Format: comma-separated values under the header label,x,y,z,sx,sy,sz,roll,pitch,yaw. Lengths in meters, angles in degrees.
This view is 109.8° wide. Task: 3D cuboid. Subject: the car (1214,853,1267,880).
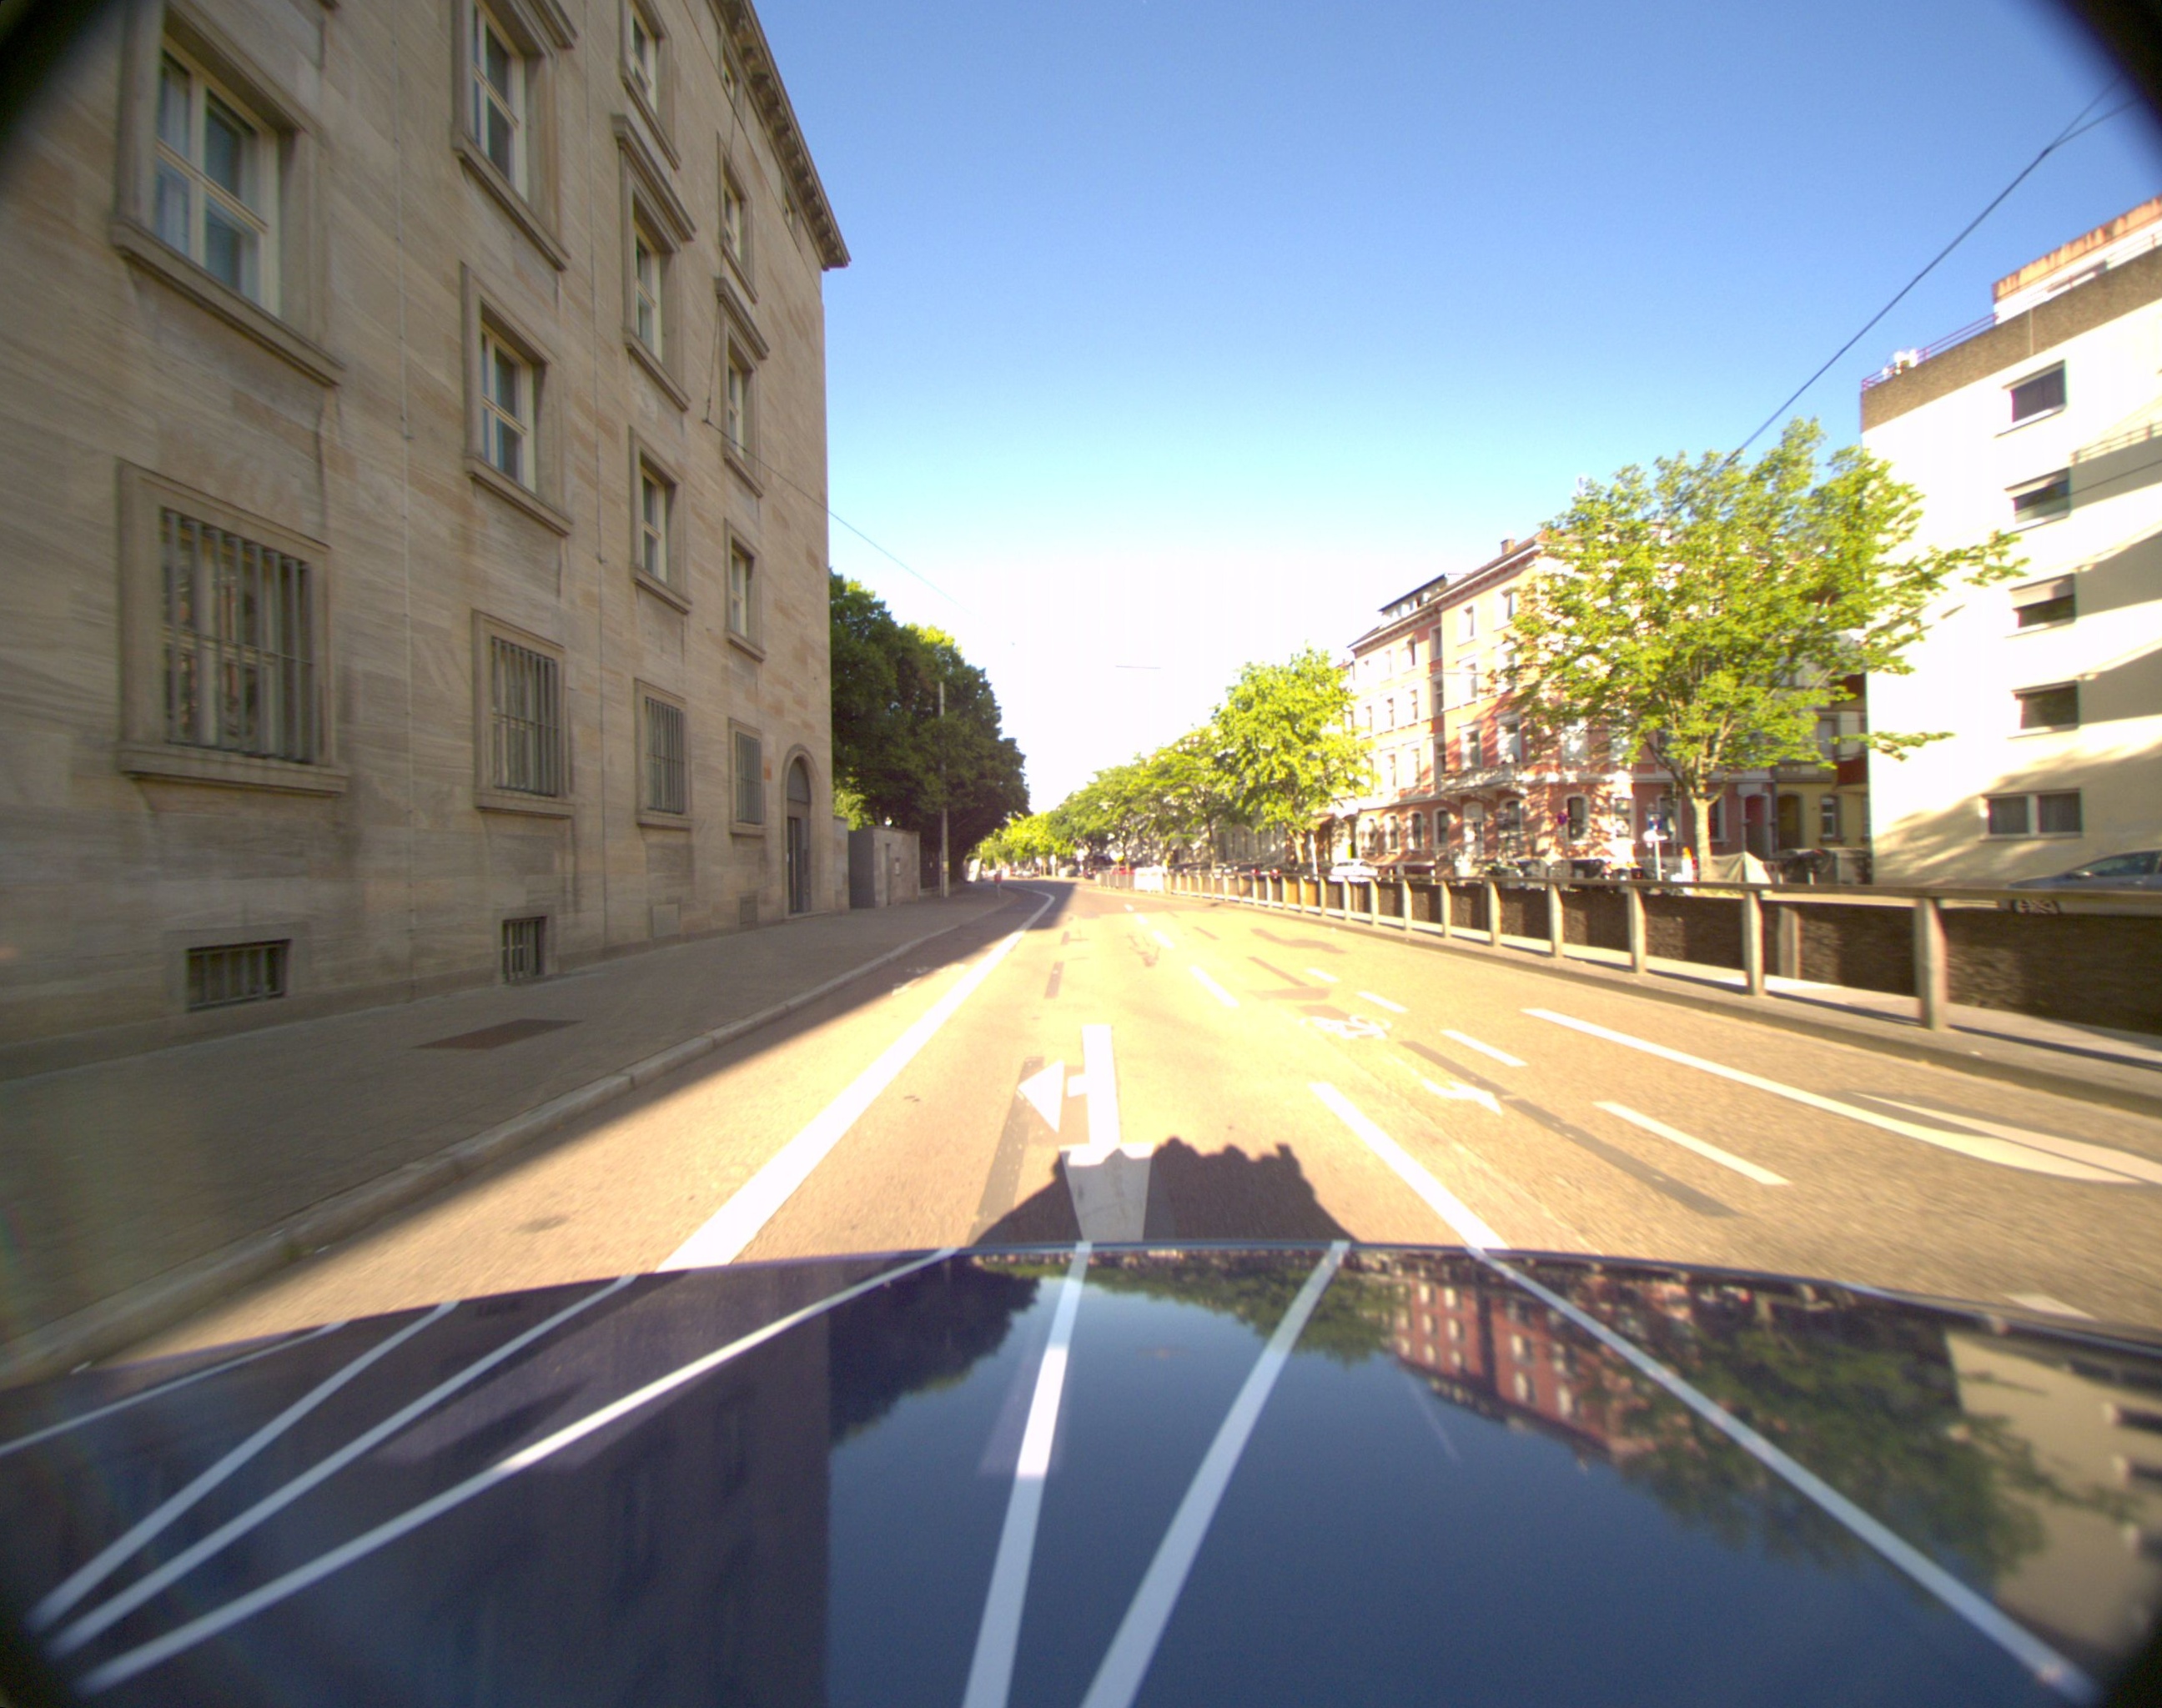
label,x,y,z,sx,sy,sz,roll,pitch,yaw
car,12.147,0.939,57.795,4.293,1.713,1.703,-5,2,-44

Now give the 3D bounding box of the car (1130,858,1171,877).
label,x,y,z,sx,sy,sz,roll,pitch,yaw
car,7.311,1.434,80.028,4.208,1.627,1.739,-4,0,-41

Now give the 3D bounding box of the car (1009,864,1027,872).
label,x,y,z,sx,sy,sz,roll,pitch,yaw
car,-14.351,3.251,173.983,3.775,1.584,1.670,-4,1,-18

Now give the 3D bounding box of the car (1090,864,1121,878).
label,x,y,z,sx,sy,sz,roll,pitch,yaw
car,3.030,2.135,94.404,1.744,1.511,3.773,-2,1,44

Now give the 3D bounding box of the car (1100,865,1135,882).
label,x,y,z,sx,sy,sz,roll,pitch,yaw
car,4.429,2.388,92.076,4.208,1.714,1.780,-4,1,-45

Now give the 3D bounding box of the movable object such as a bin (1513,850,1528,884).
label,x,y,z,sx,sy,sz,roll,pitch,yaw
movable object such as a bin,18.445,0.550,31.874,0.380,1.418,0.386,-1,0,-1

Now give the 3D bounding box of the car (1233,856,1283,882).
label,x,y,z,sx,sy,sz,roll,pitch,yaw
car,12.721,1.041,54.547,1.631,1.607,3.993,-3,0,42

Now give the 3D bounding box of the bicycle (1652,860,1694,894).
label,x,y,z,sx,sy,sz,roll,pitch,yaw
bicycle,19.838,0.749,25.487,0.264,1.110,1.405,-1,0,0

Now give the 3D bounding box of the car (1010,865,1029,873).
label,x,y,z,sx,sy,sz,roll,pitch,yaw
car,-13.452,3.288,166.341,3.775,1.584,1.670,-4,1,-18

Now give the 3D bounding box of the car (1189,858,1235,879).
label,x,y,z,sx,sy,sz,roll,pitch,yaw
car,10.964,1.212,63.459,3.829,1.477,1.766,-4,1,-42

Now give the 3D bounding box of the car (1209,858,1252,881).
label,x,y,z,sx,sy,sz,roll,pitch,yaw
car,12.035,1.222,61.046,3.286,1.524,1.703,-5,1,-44

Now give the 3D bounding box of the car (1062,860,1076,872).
label,x,y,z,sx,sy,sz,roll,pitch,yaw
car,-1.963,1.997,125.689,1.673,1.886,3.212,-1,-1,-13

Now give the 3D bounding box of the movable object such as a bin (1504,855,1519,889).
label,x,y,z,sx,sy,sz,roll,pitch,yaw
movable object such as a bin,18.326,0.771,32.314,0.380,1.418,0.388,-1,0,-1

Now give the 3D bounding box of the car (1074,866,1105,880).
label,x,y,z,sx,sy,sz,roll,pitch,yaw
car,1.144,2.490,100.236,4.007,1.477,1.777,-4,1,-44

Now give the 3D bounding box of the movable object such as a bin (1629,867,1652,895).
label,x,y,z,sx,sy,sz,roll,pitch,yaw
movable object such as a bin,21.506,1.025,29.213,0.448,1.028,0.552,-1,1,-7

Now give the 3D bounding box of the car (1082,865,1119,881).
label,x,y,z,sx,sy,sz,roll,pitch,yaw
car,2.476,2.468,96.892,4.366,1.704,1.944,-4,1,-36

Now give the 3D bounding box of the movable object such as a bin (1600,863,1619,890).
label,x,y,z,sx,sy,sz,roll,pitch,yaw
movable object such as a bin,22.074,0.925,31.735,0.380,1.092,0.552,-1,0,-7

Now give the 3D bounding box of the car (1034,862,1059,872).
label,x,y,z,sx,sy,sz,roll,pitch,yaw
car,-6.281,2.295,137.967,4.105,1.561,1.670,-4,1,-18

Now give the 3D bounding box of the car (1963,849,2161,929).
label,x,y,z,sx,sy,sz,roll,pitch,yaw
car,20.607,0.643,14.740,1.711,1.402,4.289,-3,0,-8

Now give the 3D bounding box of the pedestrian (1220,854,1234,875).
label,x,y,z,sx,sy,sz,roll,pitch,yaw
pedestrian,12.273,0.910,63.874,0.767,1.745,0.806,-1,0,-23

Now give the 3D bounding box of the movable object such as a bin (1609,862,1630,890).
label,x,y,z,sx,sy,sz,roll,pitch,yaw
movable object such as a bin,21.761,0.880,30.711,0.380,1.090,0.552,-1,0,-7

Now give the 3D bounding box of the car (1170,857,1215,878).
label,x,y,z,sx,sy,sz,roll,pitch,yaw
car,9.880,1.213,67.304,3.877,1.645,1.768,-3,1,-41

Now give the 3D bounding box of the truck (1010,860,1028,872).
label,x,y,z,sx,sy,sz,roll,pitch,yaw
truck,-13.957,2.646,171.024,3.774,2.409,1.671,-4,1,-13

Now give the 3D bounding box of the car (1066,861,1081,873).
label,x,y,z,sx,sy,sz,roll,pitch,yaw
car,-1.226,2.063,122.089,1.673,1.886,3.212,-1,-1,-13

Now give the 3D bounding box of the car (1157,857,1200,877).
label,x,y,z,sx,sy,sz,roll,pitch,yaw
car,9.074,1.209,70.629,3.877,1.645,1.768,-3,1,-42

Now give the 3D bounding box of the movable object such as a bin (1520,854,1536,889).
label,x,y,z,sx,sy,sz,roll,pitch,yaw
movable object such as a bin,18.486,0.720,31.433,0.380,1.418,0.388,-1,0,-1

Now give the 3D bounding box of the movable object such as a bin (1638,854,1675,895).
label,x,y,z,sx,sy,sz,roll,pitch,yaw
movable object such as a bin,21.212,0.746,28.033,0.427,1.449,1.146,-1,1,-6

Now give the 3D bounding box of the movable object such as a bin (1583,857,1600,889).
label,x,y,z,sx,sy,sz,roll,pitch,yaw
movable object such as a bin,21.302,0.798,31.698,0.380,1.304,0.387,-1,0,-7

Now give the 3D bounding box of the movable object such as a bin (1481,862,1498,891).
label,x,y,z,sx,sy,sz,roll,pitch,yaw
movable object such as a bin,17.730,0.970,32.981,0.380,1.196,0.639,-1,0,0

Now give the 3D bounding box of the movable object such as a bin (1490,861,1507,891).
label,x,y,z,sx,sy,sz,roll,pitch,yaw
movable object such as a bin,17.744,0.939,32.296,0.380,1.234,0.639,-1,0,0

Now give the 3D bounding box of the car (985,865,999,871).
label,x,y,z,sx,sy,sz,roll,pitch,yaw
car,-24.416,3.829,208.423,3.624,1.492,1.502,-4,1,-18

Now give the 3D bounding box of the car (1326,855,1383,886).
label,x,y,z,sx,sy,sz,roll,pitch,yaw
car,15.900,0.932,44.054,1.731,1.513,3.923,-4,0,41

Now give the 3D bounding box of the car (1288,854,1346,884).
label,x,y,z,sx,sy,sz,roll,pitch,yaw
car,14.730,0.918,47.264,3.929,1.499,1.685,-4,0,-44

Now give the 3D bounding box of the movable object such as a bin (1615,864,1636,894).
label,x,y,z,sx,sy,sz,roll,pitch,yaw
movable object such as a bin,20.917,0.951,29.187,0.380,1.090,0.552,-1,1,-7

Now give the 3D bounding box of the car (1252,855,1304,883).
label,x,y,z,sx,sy,sz,roll,pitch,yaw
car,13.464,0.996,51.791,1.631,1.607,3.993,-3,0,42

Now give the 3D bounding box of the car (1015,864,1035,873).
label,x,y,z,sx,sy,sz,roll,pitch,yaw
car,-12.067,3.181,163.542,3.775,1.584,1.670,-4,1,-18

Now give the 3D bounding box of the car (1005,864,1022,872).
label,x,y,z,sx,sy,sz,roll,pitch,yaw
car,-15.780,3.270,177.608,3.775,1.584,1.670,-4,1,-18

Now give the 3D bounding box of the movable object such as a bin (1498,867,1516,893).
label,x,y,z,sx,sy,sz,roll,pitch,yaw
movable object such as a bin,17.739,1.074,31.624,0.380,1.062,0.639,-1,0,0

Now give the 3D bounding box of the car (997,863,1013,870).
label,x,y,z,sx,sy,sz,roll,pitch,yaw
car,-19.383,3.201,193.791,3.775,1.584,1.670,-4,1,-18

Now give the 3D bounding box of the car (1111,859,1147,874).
label,x,y,z,sx,sy,sz,roll,pitch,yaw
car,5.647,1.463,89.521,4.208,1.549,1.636,-3,0,-41

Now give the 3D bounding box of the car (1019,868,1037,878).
label,x,y,z,sx,sy,sz,roll,pitch,yaw
car,-8.412,2.979,119.731,1.878,1.591,4.421,-1,-1,-17

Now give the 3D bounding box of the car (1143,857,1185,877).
label,x,y,z,sx,sy,sz,roll,pitch,yaw
car,8.420,1.304,76.987,4.208,1.788,1.781,-4,2,-41
